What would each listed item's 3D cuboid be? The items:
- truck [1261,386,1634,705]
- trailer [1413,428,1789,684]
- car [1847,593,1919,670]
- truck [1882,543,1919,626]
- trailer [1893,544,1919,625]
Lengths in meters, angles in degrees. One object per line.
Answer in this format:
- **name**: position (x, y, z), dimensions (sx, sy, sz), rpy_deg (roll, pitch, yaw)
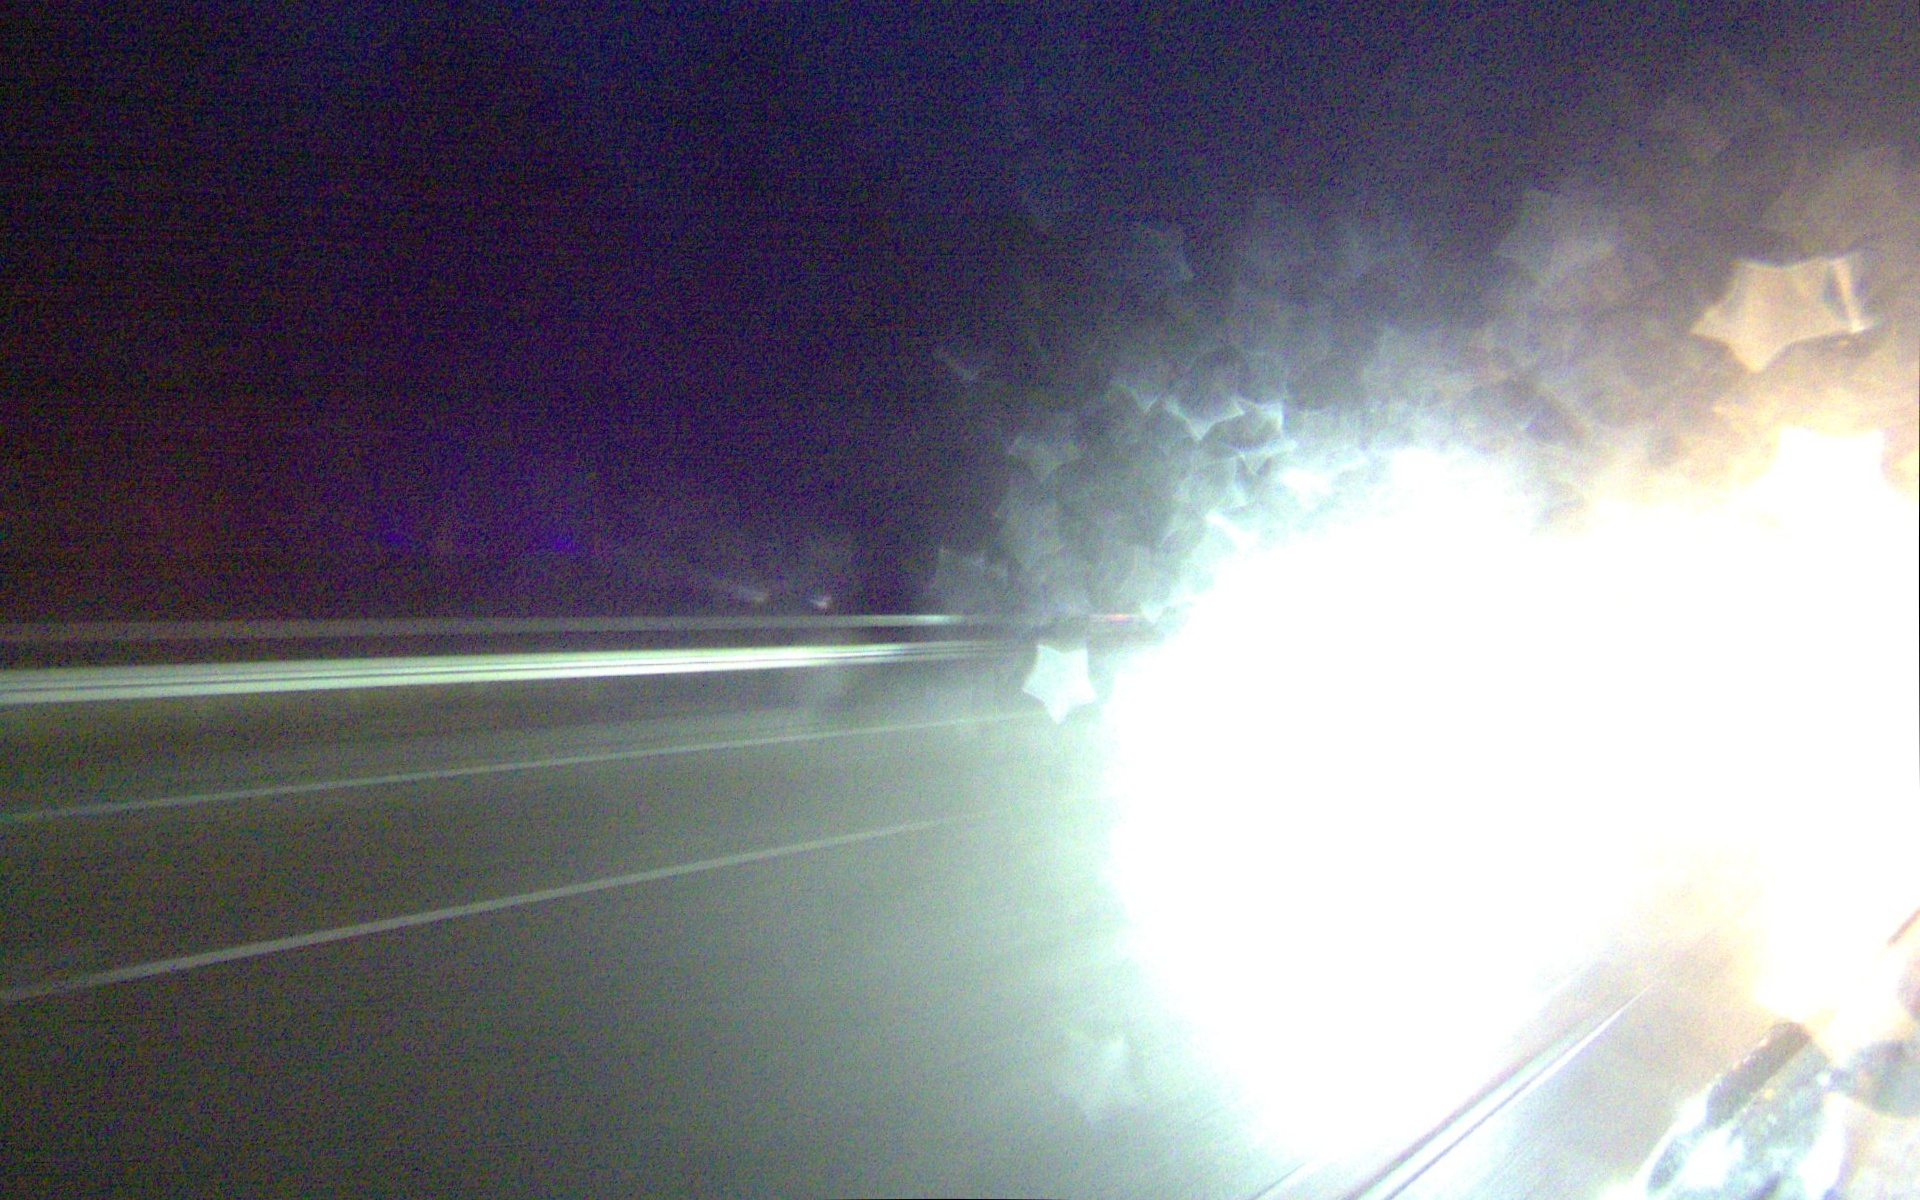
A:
- **truck**: position (8.131, -0.721, 16.465), dimensions (6.888, 4.155, 2.865), rpy_deg (0, 0, -40)
- **trailer**: position (14.395, -0.775, 21.802), dimensions (13.398, 4.149, 2.871), rpy_deg (0, 0, -40)
- **car**: position (20.318, 0.606, 21.529), dimensions (3.700, 1.522, 1.619), rpy_deg (0, 0, -40)
- **truck**: position (51.013, -0.803, 53.340), dimensions (5.909, 4.246, 2.777), rpy_deg (0, 0, -40)
- **trailer**: position (55.284, -0.844, 56.897), dimensions (10.980, 4.246, 2.752), rpy_deg (0, 0, -40)
